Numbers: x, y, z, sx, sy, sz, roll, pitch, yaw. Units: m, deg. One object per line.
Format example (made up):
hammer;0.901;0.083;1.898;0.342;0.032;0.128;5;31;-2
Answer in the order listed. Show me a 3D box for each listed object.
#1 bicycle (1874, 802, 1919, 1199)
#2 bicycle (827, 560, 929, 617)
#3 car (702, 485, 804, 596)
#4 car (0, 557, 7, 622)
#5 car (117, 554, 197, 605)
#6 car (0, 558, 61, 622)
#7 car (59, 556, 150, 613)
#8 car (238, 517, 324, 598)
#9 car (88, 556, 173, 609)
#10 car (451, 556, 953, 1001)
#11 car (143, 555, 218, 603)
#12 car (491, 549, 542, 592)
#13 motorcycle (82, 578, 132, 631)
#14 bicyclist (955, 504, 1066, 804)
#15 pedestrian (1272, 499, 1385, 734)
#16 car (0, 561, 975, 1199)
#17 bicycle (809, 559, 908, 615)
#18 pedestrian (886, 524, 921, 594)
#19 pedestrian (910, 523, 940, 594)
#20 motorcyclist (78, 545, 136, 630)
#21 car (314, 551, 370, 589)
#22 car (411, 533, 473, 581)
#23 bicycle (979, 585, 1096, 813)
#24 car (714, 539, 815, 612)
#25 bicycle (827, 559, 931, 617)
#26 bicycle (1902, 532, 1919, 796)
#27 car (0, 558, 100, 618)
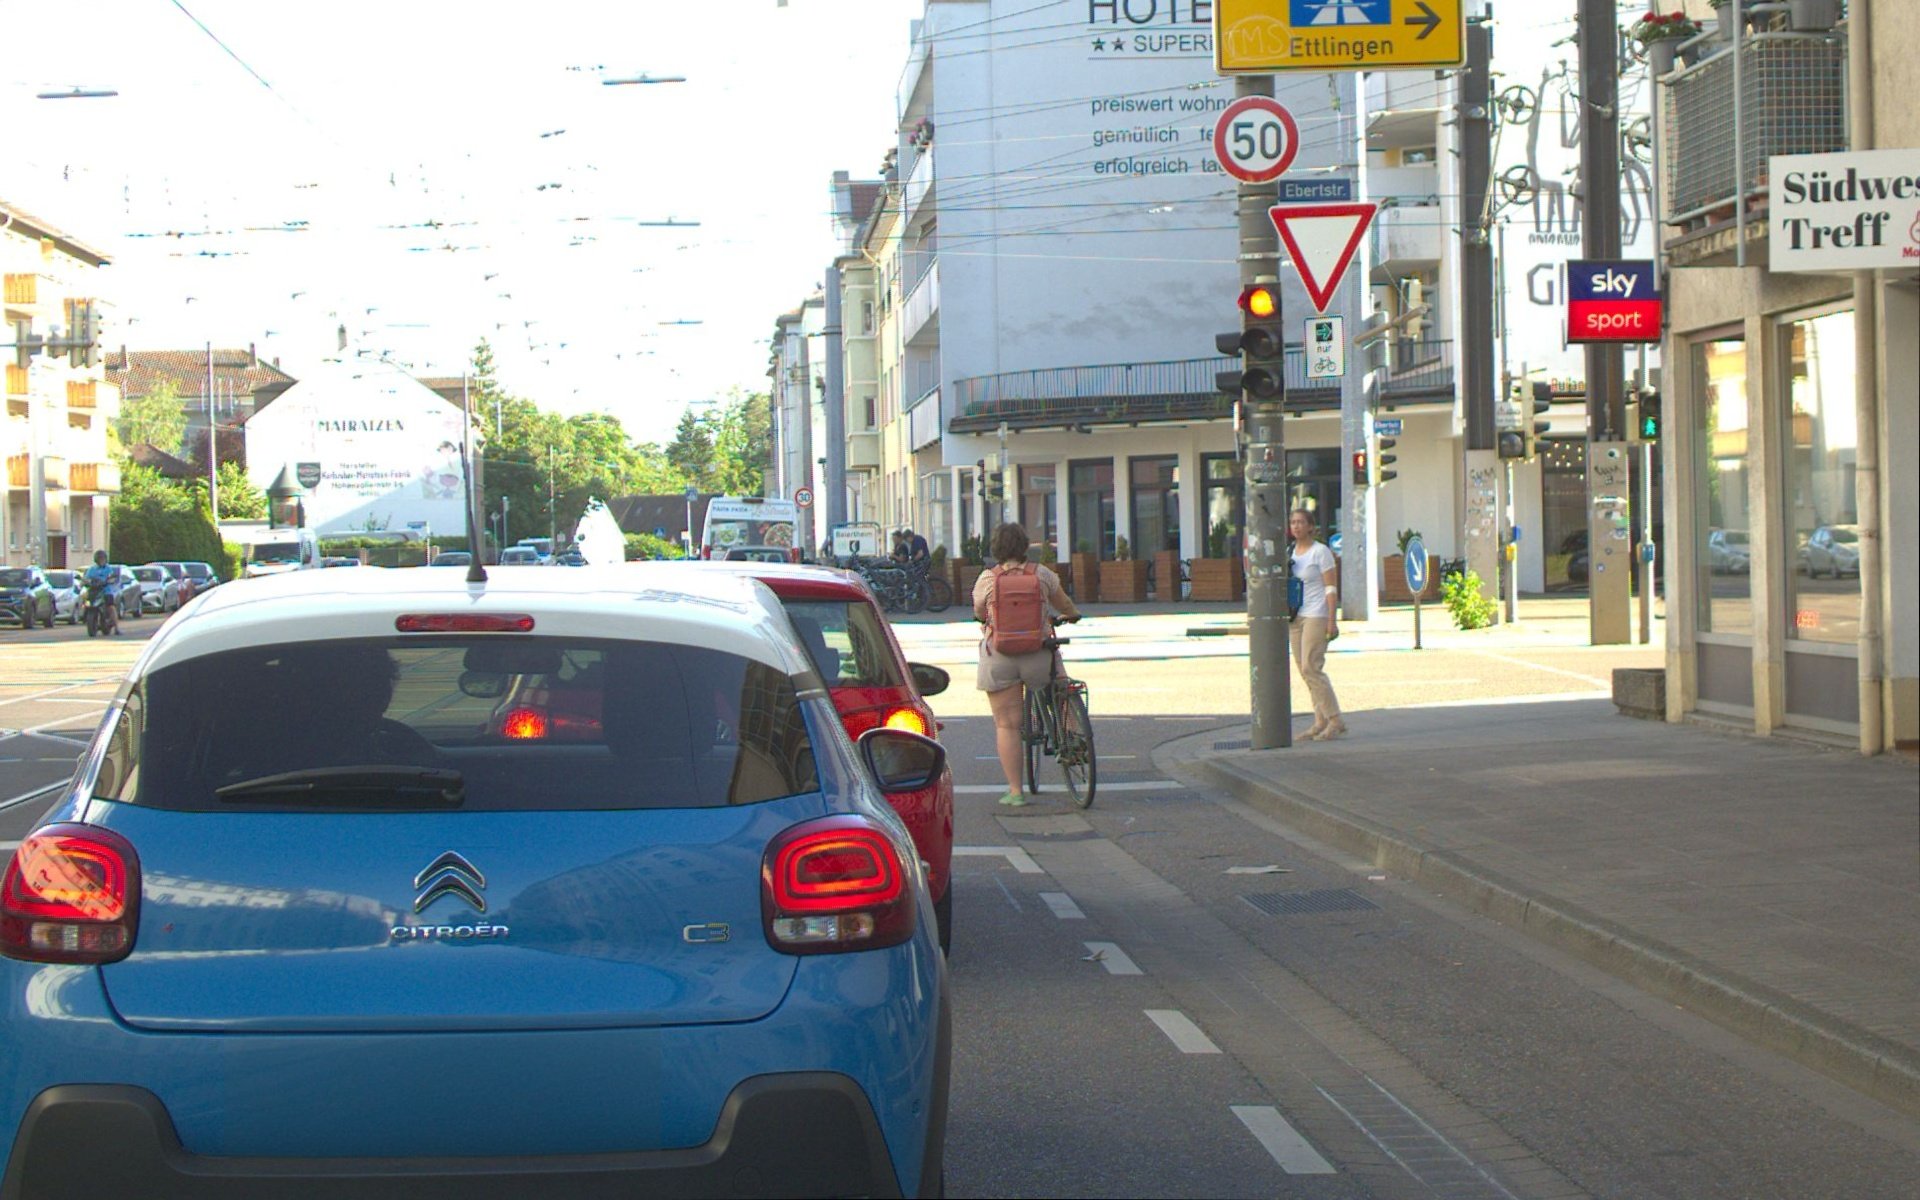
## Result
bicycle;1.856;0.896;4.714;0.616;1.099;1.886;-1;1;-2
bicycle;-1.603;-0.233;67.119;1.904;1.061;0.642;-1;1;-7
car;-4.428;-1.274;73.240;2.079;2.262;5.652;0;1;-4
car;-23.317;-0.193;79.224;1.950;1.514;4.001;-1;1;-6
car;-25.354;-0.671;108.657;1.950;1.514;4.001;-1;1;-6
car;-23.781;-0.266;85.889;1.950;1.514;4.001;-1;1;-6
car;-24.454;-0.456;98.373;1.950;1.514;4.001;-1;1;-6
car;-23.656;-1.502;119.935;2.493;2.703;5.839;-1;1;-7
car;-24.921;-0.540;103.377;1.950;1.514;4.001;-1;1;-6
car;-1.004;0.580;13.583;1.680;1.457;4.001;0;1;-4
car;-26.063;-0.720;114.999;1.950;1.514;4.001;-1;1;-6
car;-22.037;-1.497;170.840;2.338;2.032;5.051;-1;1;-6
motorcycle;-16.691;0.075;67.286;0.751;0.973;2.098;-1;1;-9
bicyclist;0.292;0.306;20.598;0.600;1.740;1.084;-1;1;-1
pedestrian;2.610;0.110;24.373;0.751;1.629;0.740;-1;1;6
car;-0.958;0.671;7.374;1.680;1.457;4.001;0;1;-4
bicycle;-2.022;-0.271;68.311;1.904;1.061;0.642;-1;1;-7
pedestrian;-1.149;-0.842;70.257;0.525;1.415;0.546;-1;1;20
pedestrian;-0.716;-0.845;70.005;0.467;1.415;0.527;-1;1;-13
motorcyclist;-16.671;-0.250;67.212;0.991;1.625;0.739;-1;1;-9
car;-25.970;-1.278;144.568;1.950;1.514;4.001;-1;1;-6
car;-18.303;-1.535;121.534;2.004;1.622;5.054;-1;1;-7
bicycle;0.449;0.562;20.640;0.613;1.260;1.911;-1;1;-1
car;-3.879;-0.512;67.804;1.786;1.354;3.915;-1;1;-6
bicycle;-1.554;-0.239;65.813;1.904;1.061;0.642;-1;1;-7
bicycle;4.915;0.316;15.751;0.640;1.260;1.911;-1;1;-1
car;-24.301;-0.334;91.946;1.950;1.514;4.001;-1;1;-6
